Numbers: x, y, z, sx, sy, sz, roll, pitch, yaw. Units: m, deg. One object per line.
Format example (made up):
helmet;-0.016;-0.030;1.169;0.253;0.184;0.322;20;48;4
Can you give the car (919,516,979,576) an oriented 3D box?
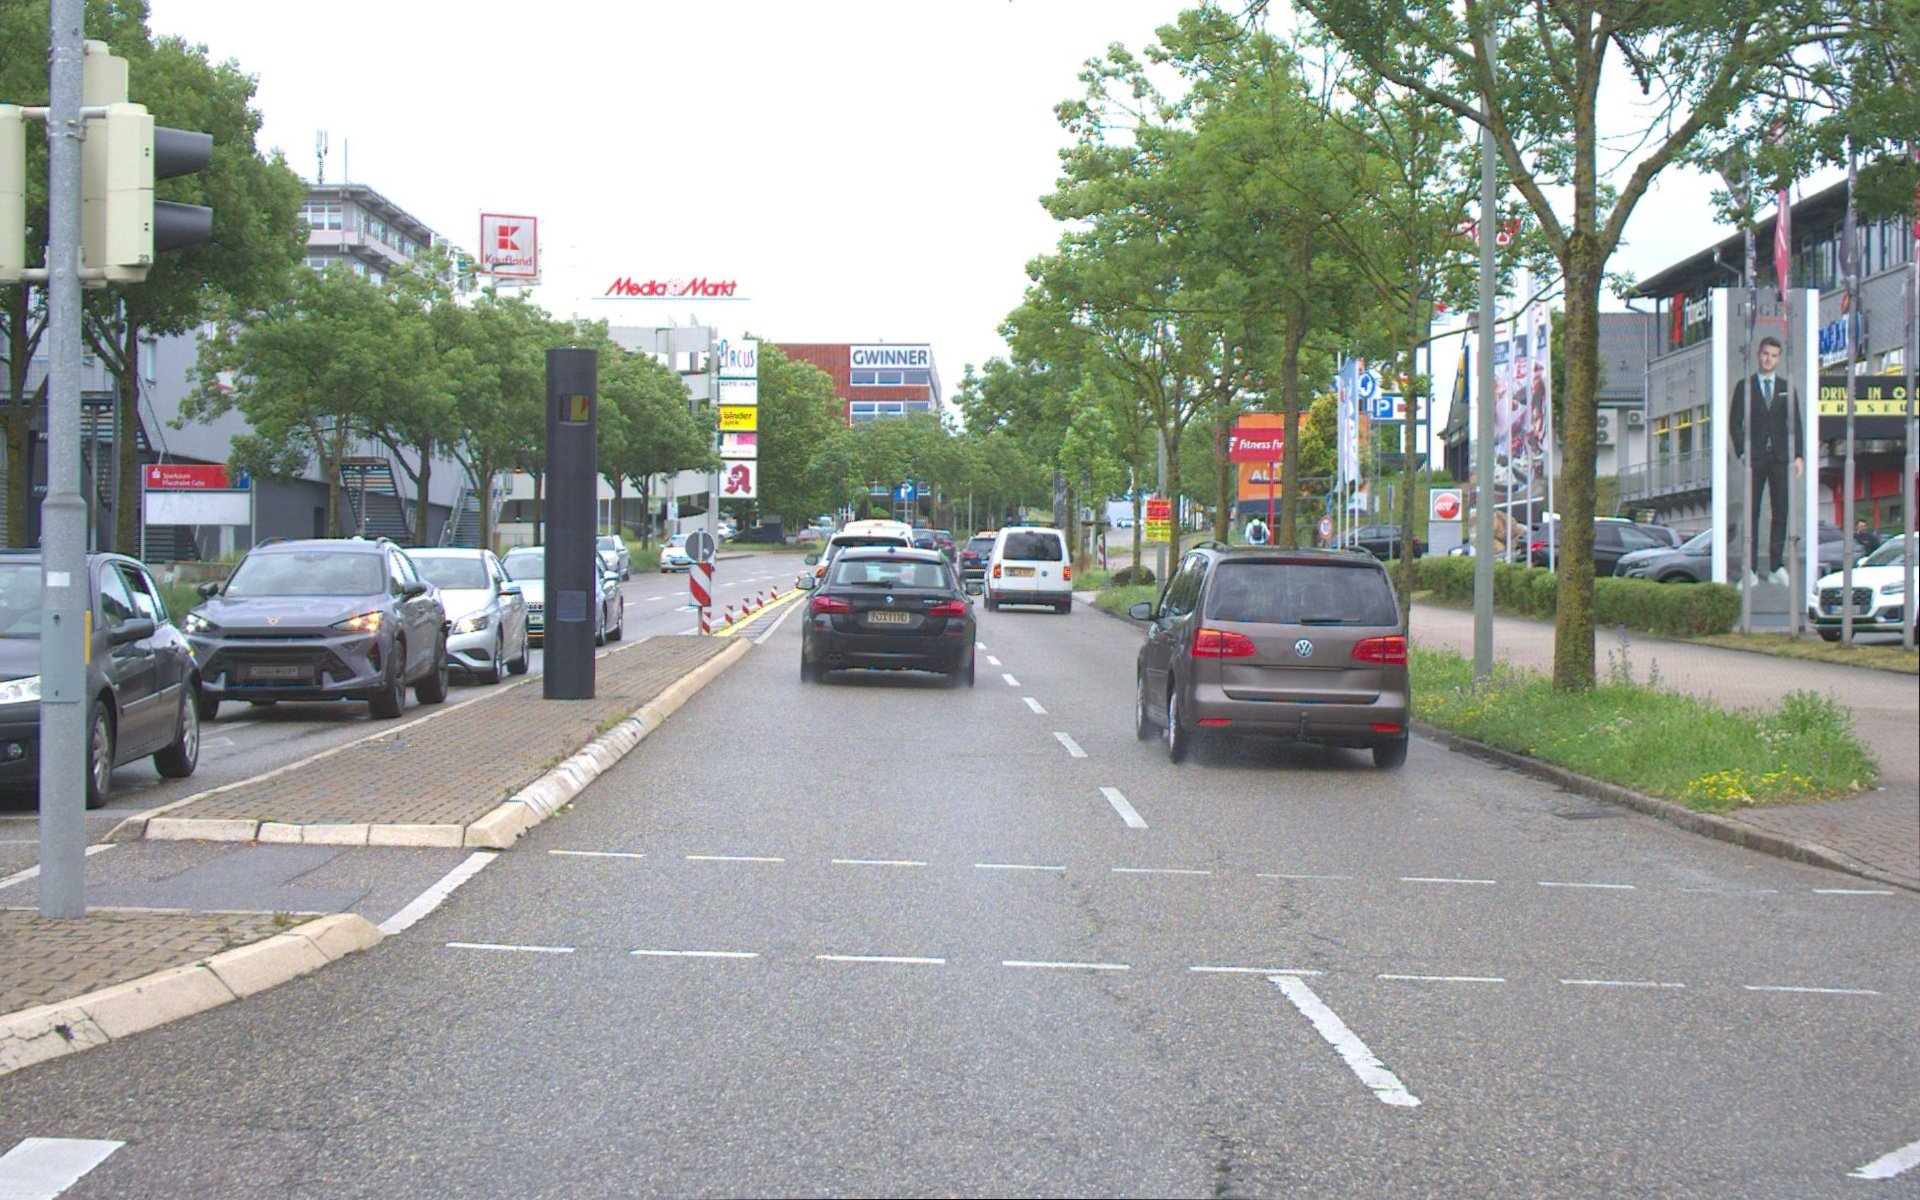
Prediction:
car;-0.323;-1.618;103.775;1.685;1.678;3.402;2;0;1

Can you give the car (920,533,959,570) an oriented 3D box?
car;-0.925;-2.126;151.680;1.619;1.490;3.360;2;0;-1

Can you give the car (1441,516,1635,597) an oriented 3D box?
car;12.819;-0.971;76.428;4.111;1.697;1.799;1;1;6

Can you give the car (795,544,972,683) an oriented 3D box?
car;-0.814;0.121;37.358;1.781;1.393;4.000;1;0;-1

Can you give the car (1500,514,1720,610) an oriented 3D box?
car;13.076;-0.765;69.286;4.111;1.898;1.799;0;1;2

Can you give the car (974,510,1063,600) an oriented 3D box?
car;1.218;-0.947;73.130;1.782;1.860;4.000;0;0;-1

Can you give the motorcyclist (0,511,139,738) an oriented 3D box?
motorcyclist;-6.348;0.155;24.292;0.806;1.554;1.268;1;1;-2

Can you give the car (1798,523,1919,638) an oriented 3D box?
car;13.428;-0.296;47.487;3.588;1.530;1.796;-1;1;-39

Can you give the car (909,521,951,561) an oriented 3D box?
car;-1.196;-2.321;135.862;1.594;1.469;3.445;2;0;-1

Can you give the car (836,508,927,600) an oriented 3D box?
car;-1.814;-1.056;80.850;1.993;2.007;4.000;2;0;0

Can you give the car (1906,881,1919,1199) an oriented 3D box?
car;3.087;0.724;5.469;1.801;1.539;4.620;3;0;0

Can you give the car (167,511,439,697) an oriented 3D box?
car;-5.658;0.001;30.114;1.744;1.484;4.829;0;1;-4

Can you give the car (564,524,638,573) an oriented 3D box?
car;-11.160;-1.596;107.149;1.943;1.448;4.000;1;1;-1

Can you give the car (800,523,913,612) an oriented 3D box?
car;-1.695;-0.531;55.426;1.682;1.372;4.001;0;1;-4

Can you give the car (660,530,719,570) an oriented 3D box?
car;-10.078;-1.852;128.219;1.943;1.443;4.000;1;1;-1

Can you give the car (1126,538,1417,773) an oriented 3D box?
car;2.304;0.360;26.487;1.801;1.581;4.451;3;1;0

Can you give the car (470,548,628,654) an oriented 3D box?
car;-5.839;-0.009;49.298;1.723;1.393;4.789;-2;1;-1

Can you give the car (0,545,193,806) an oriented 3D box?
car;-5.648;0.369;20.065;1.682;1.372;4.001;0;1;-4

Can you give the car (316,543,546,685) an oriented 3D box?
car;-5.673;0.107;37.409;1.840;1.372;4.863;-2;1;-2

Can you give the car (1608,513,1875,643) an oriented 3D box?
car;13.226;-0.385;58.370;4.111;2.098;1.799;1;1;1

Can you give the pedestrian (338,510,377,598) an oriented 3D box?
pedestrian;-15.412;-1.179;87.922;0.858;2.210;0.846;1;1;-3
